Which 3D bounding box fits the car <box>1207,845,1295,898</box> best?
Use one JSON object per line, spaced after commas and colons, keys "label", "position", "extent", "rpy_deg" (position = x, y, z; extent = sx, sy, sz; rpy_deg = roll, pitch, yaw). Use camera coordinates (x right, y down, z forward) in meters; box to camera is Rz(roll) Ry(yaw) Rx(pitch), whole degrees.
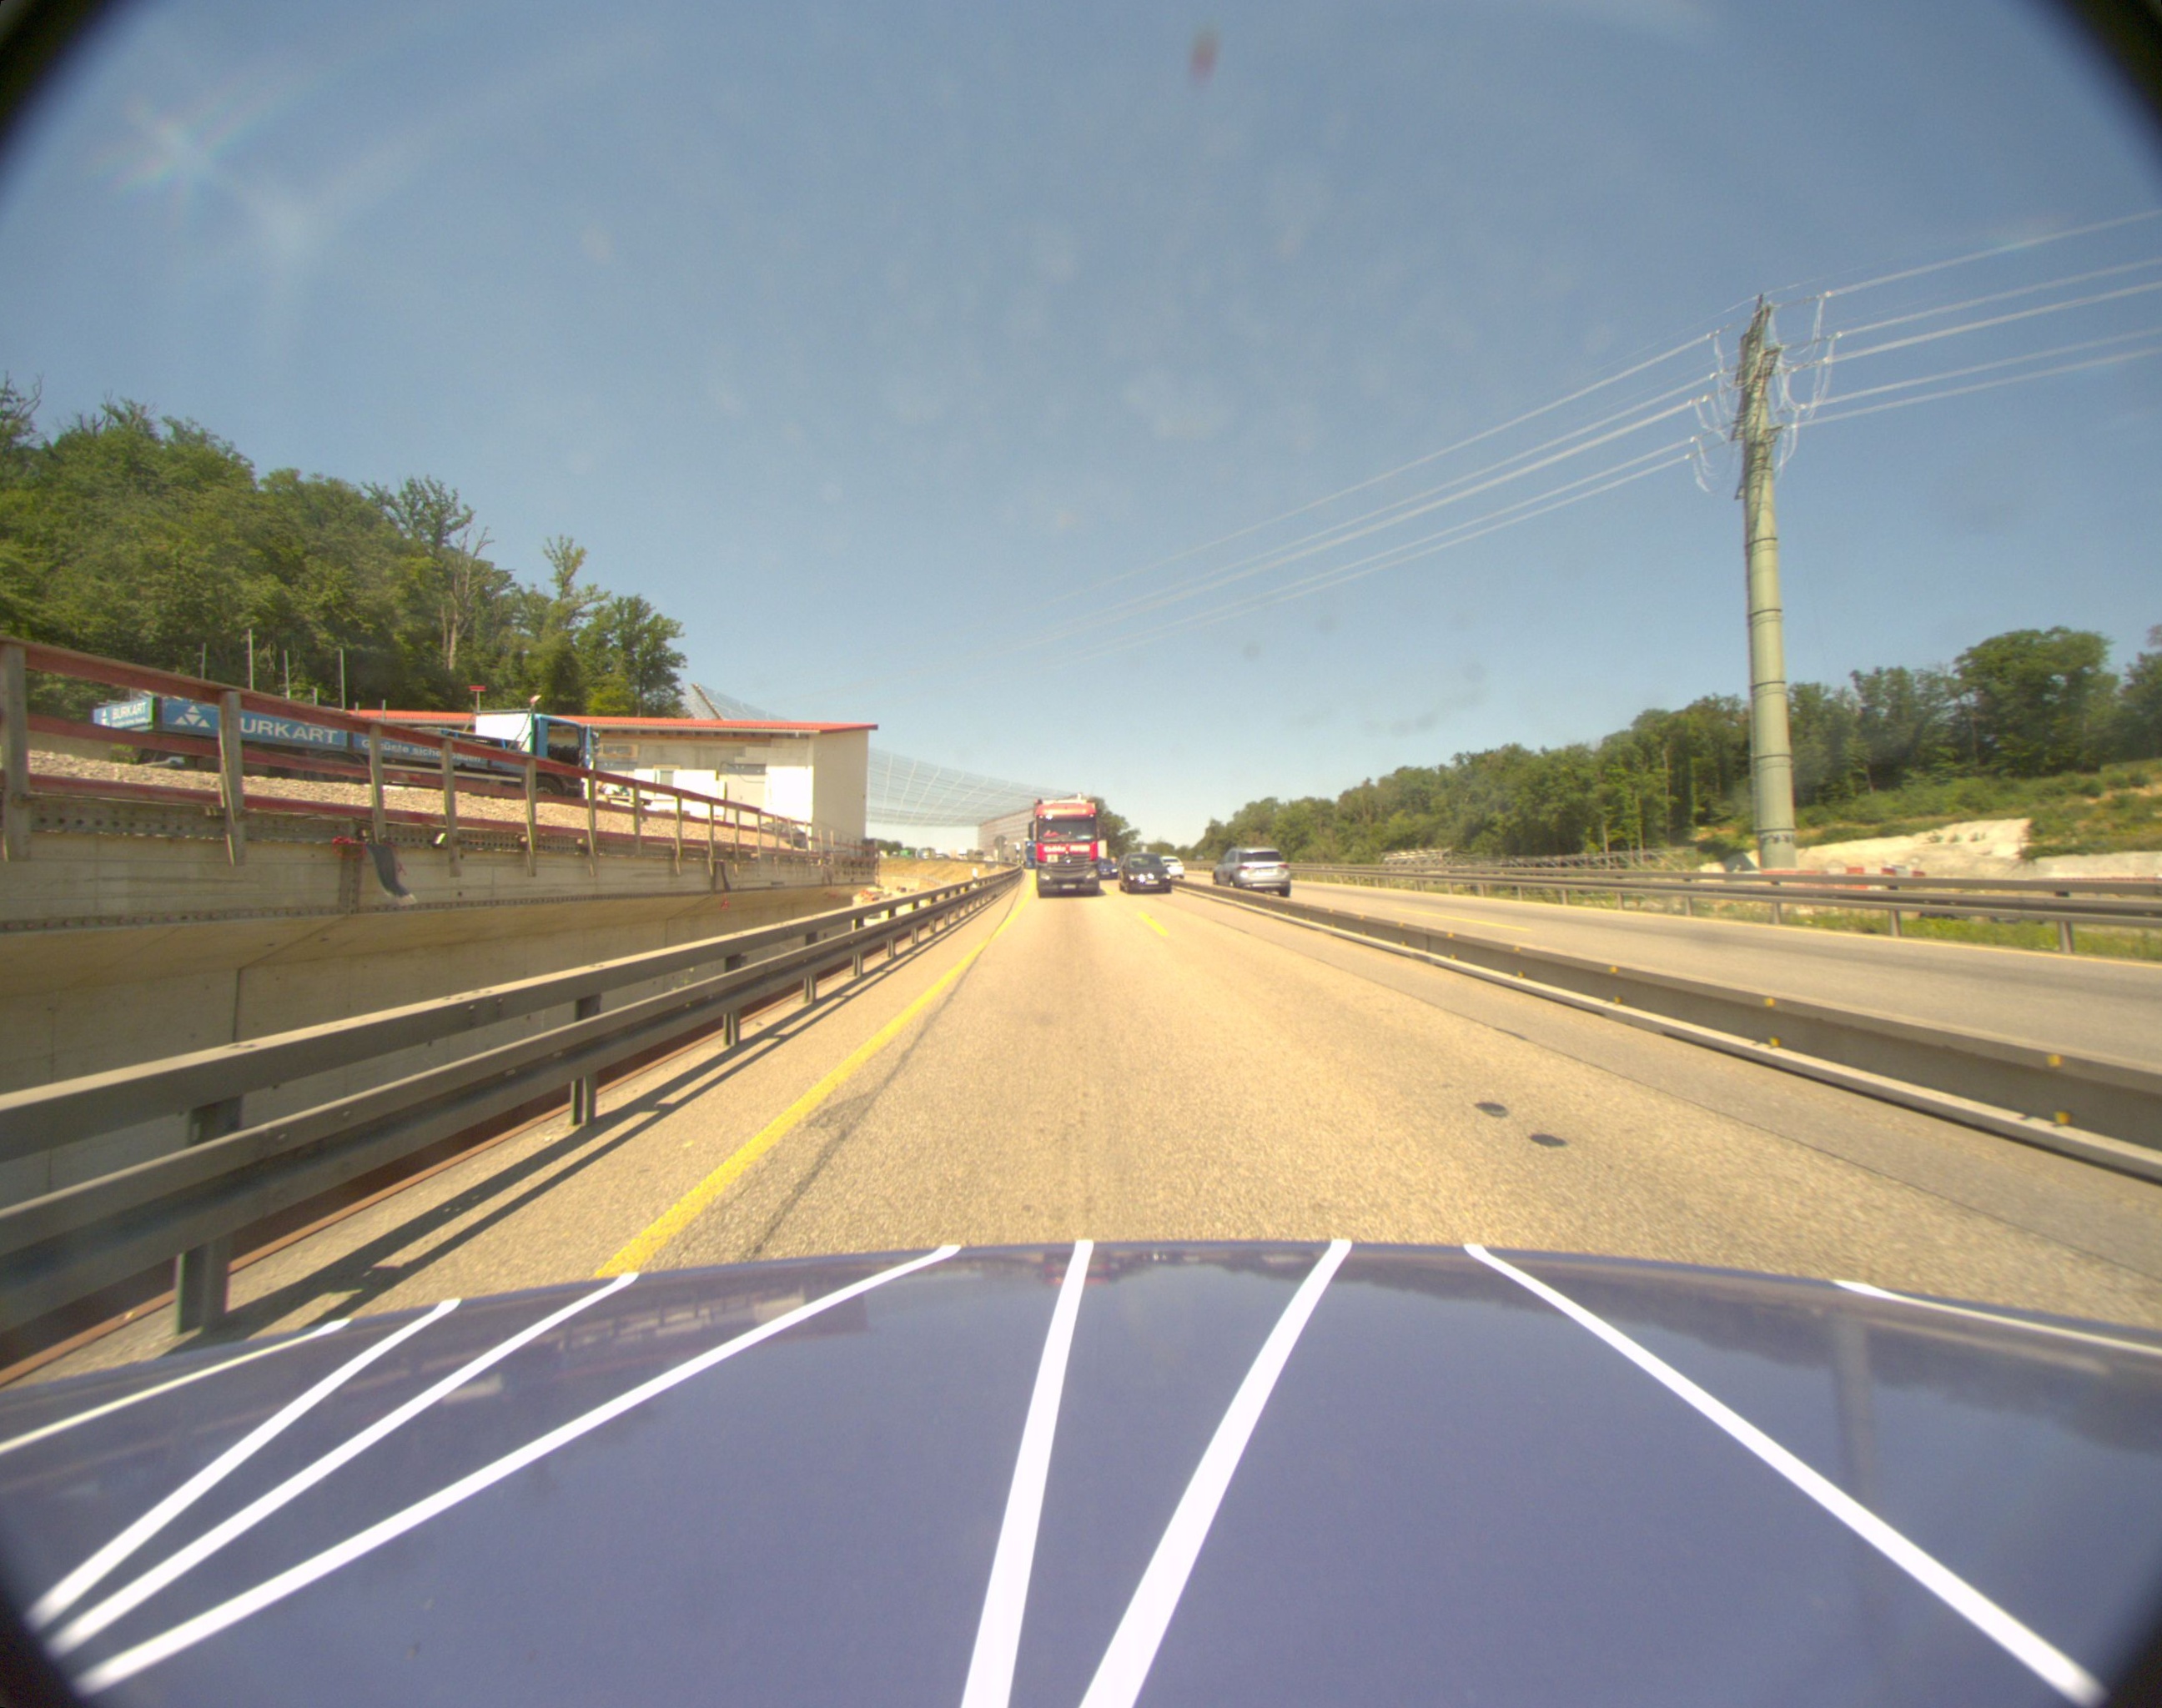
{"label": "car", "position": [6.066, 0.596, 27.707], "extent": [1.917, 1.695, 4.735], "rpy_deg": [-2, 0, -3]}

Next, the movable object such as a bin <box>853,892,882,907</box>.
{"label": "movable object such as a bin", "position": [-40.728, 8.585, 144.899], "extent": [5.485, 2.621, 2.224], "rpy_deg": [-1, 1, 35]}

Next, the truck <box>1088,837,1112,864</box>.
{"label": "truck", "position": [2.943, -0.587, 121.925], "extent": [2.808, 3.978, 10.545], "rpy_deg": [-2, 2, -4]}

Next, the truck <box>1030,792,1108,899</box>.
{"label": "truck", "position": [-0.640, -0.390, 34.007], "extent": [2.799, 3.986, 10.426], "rpy_deg": [-2, 1, -2]}

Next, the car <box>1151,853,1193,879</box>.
{"label": "car", "position": [5.696, 0.714, 48.104], "extent": [1.917, 1.478, 4.476], "rpy_deg": [-2, 0, -2]}

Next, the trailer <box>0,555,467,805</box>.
{"label": "trailer", "position": [-19.381, -3.375, 16.635], "extent": [2.713, 3.671, 9.013], "rpy_deg": [-1, -2, 22]}

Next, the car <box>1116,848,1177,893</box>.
{"label": "car", "position": [2.677, 0.683, 32.197], "extent": [1.862, 1.695, 5.302], "rpy_deg": [-2, 0, -3]}

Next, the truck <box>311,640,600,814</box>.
{"label": "truck", "position": [-17.381, -3.259, 21.619], "extent": [2.713, 3.671, 5.722], "rpy_deg": [-1, -2, 22]}

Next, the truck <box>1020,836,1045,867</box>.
{"label": "truck", "position": [-6.939, -0.379, 107.215], "extent": [2.673, 3.986, 10.420], "rpy_deg": [-2, 1, -8]}

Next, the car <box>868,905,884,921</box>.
{"label": "car", "position": [-31.682, 9.135, 117.487], "extent": [2.000, 2.002, 3.996], "rpy_deg": [-2, 1, -9]}

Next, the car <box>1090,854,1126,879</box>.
{"label": "car", "position": [1.788, 0.817, 51.674], "extent": [1.897, 1.546, 4.784], "rpy_deg": [-2, 0, -5]}

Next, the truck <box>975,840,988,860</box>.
{"label": "truck", "position": [-24.948, -1.021, 190.479], "extent": [3.043, 4.778, 8.934], "rpy_deg": [-2, 1, -8]}

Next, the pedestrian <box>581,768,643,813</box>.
{"label": "pedestrian", "position": [-12.995, -1.749, 21.102], "extent": [1.022, 1.144, 0.994], "rpy_deg": [-2, 1, 5]}

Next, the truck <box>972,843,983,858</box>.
{"label": "truck", "position": [-30.914, -1.082, 227.382], "extent": [3.043, 4.033, 8.667], "rpy_deg": [-2, 1, -9]}

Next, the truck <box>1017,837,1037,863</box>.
{"label": "truck", "position": [-9.692, -0.738, 135.053], "extent": [2.911, 4.207, 9.234], "rpy_deg": [-2, 1, -7]}
